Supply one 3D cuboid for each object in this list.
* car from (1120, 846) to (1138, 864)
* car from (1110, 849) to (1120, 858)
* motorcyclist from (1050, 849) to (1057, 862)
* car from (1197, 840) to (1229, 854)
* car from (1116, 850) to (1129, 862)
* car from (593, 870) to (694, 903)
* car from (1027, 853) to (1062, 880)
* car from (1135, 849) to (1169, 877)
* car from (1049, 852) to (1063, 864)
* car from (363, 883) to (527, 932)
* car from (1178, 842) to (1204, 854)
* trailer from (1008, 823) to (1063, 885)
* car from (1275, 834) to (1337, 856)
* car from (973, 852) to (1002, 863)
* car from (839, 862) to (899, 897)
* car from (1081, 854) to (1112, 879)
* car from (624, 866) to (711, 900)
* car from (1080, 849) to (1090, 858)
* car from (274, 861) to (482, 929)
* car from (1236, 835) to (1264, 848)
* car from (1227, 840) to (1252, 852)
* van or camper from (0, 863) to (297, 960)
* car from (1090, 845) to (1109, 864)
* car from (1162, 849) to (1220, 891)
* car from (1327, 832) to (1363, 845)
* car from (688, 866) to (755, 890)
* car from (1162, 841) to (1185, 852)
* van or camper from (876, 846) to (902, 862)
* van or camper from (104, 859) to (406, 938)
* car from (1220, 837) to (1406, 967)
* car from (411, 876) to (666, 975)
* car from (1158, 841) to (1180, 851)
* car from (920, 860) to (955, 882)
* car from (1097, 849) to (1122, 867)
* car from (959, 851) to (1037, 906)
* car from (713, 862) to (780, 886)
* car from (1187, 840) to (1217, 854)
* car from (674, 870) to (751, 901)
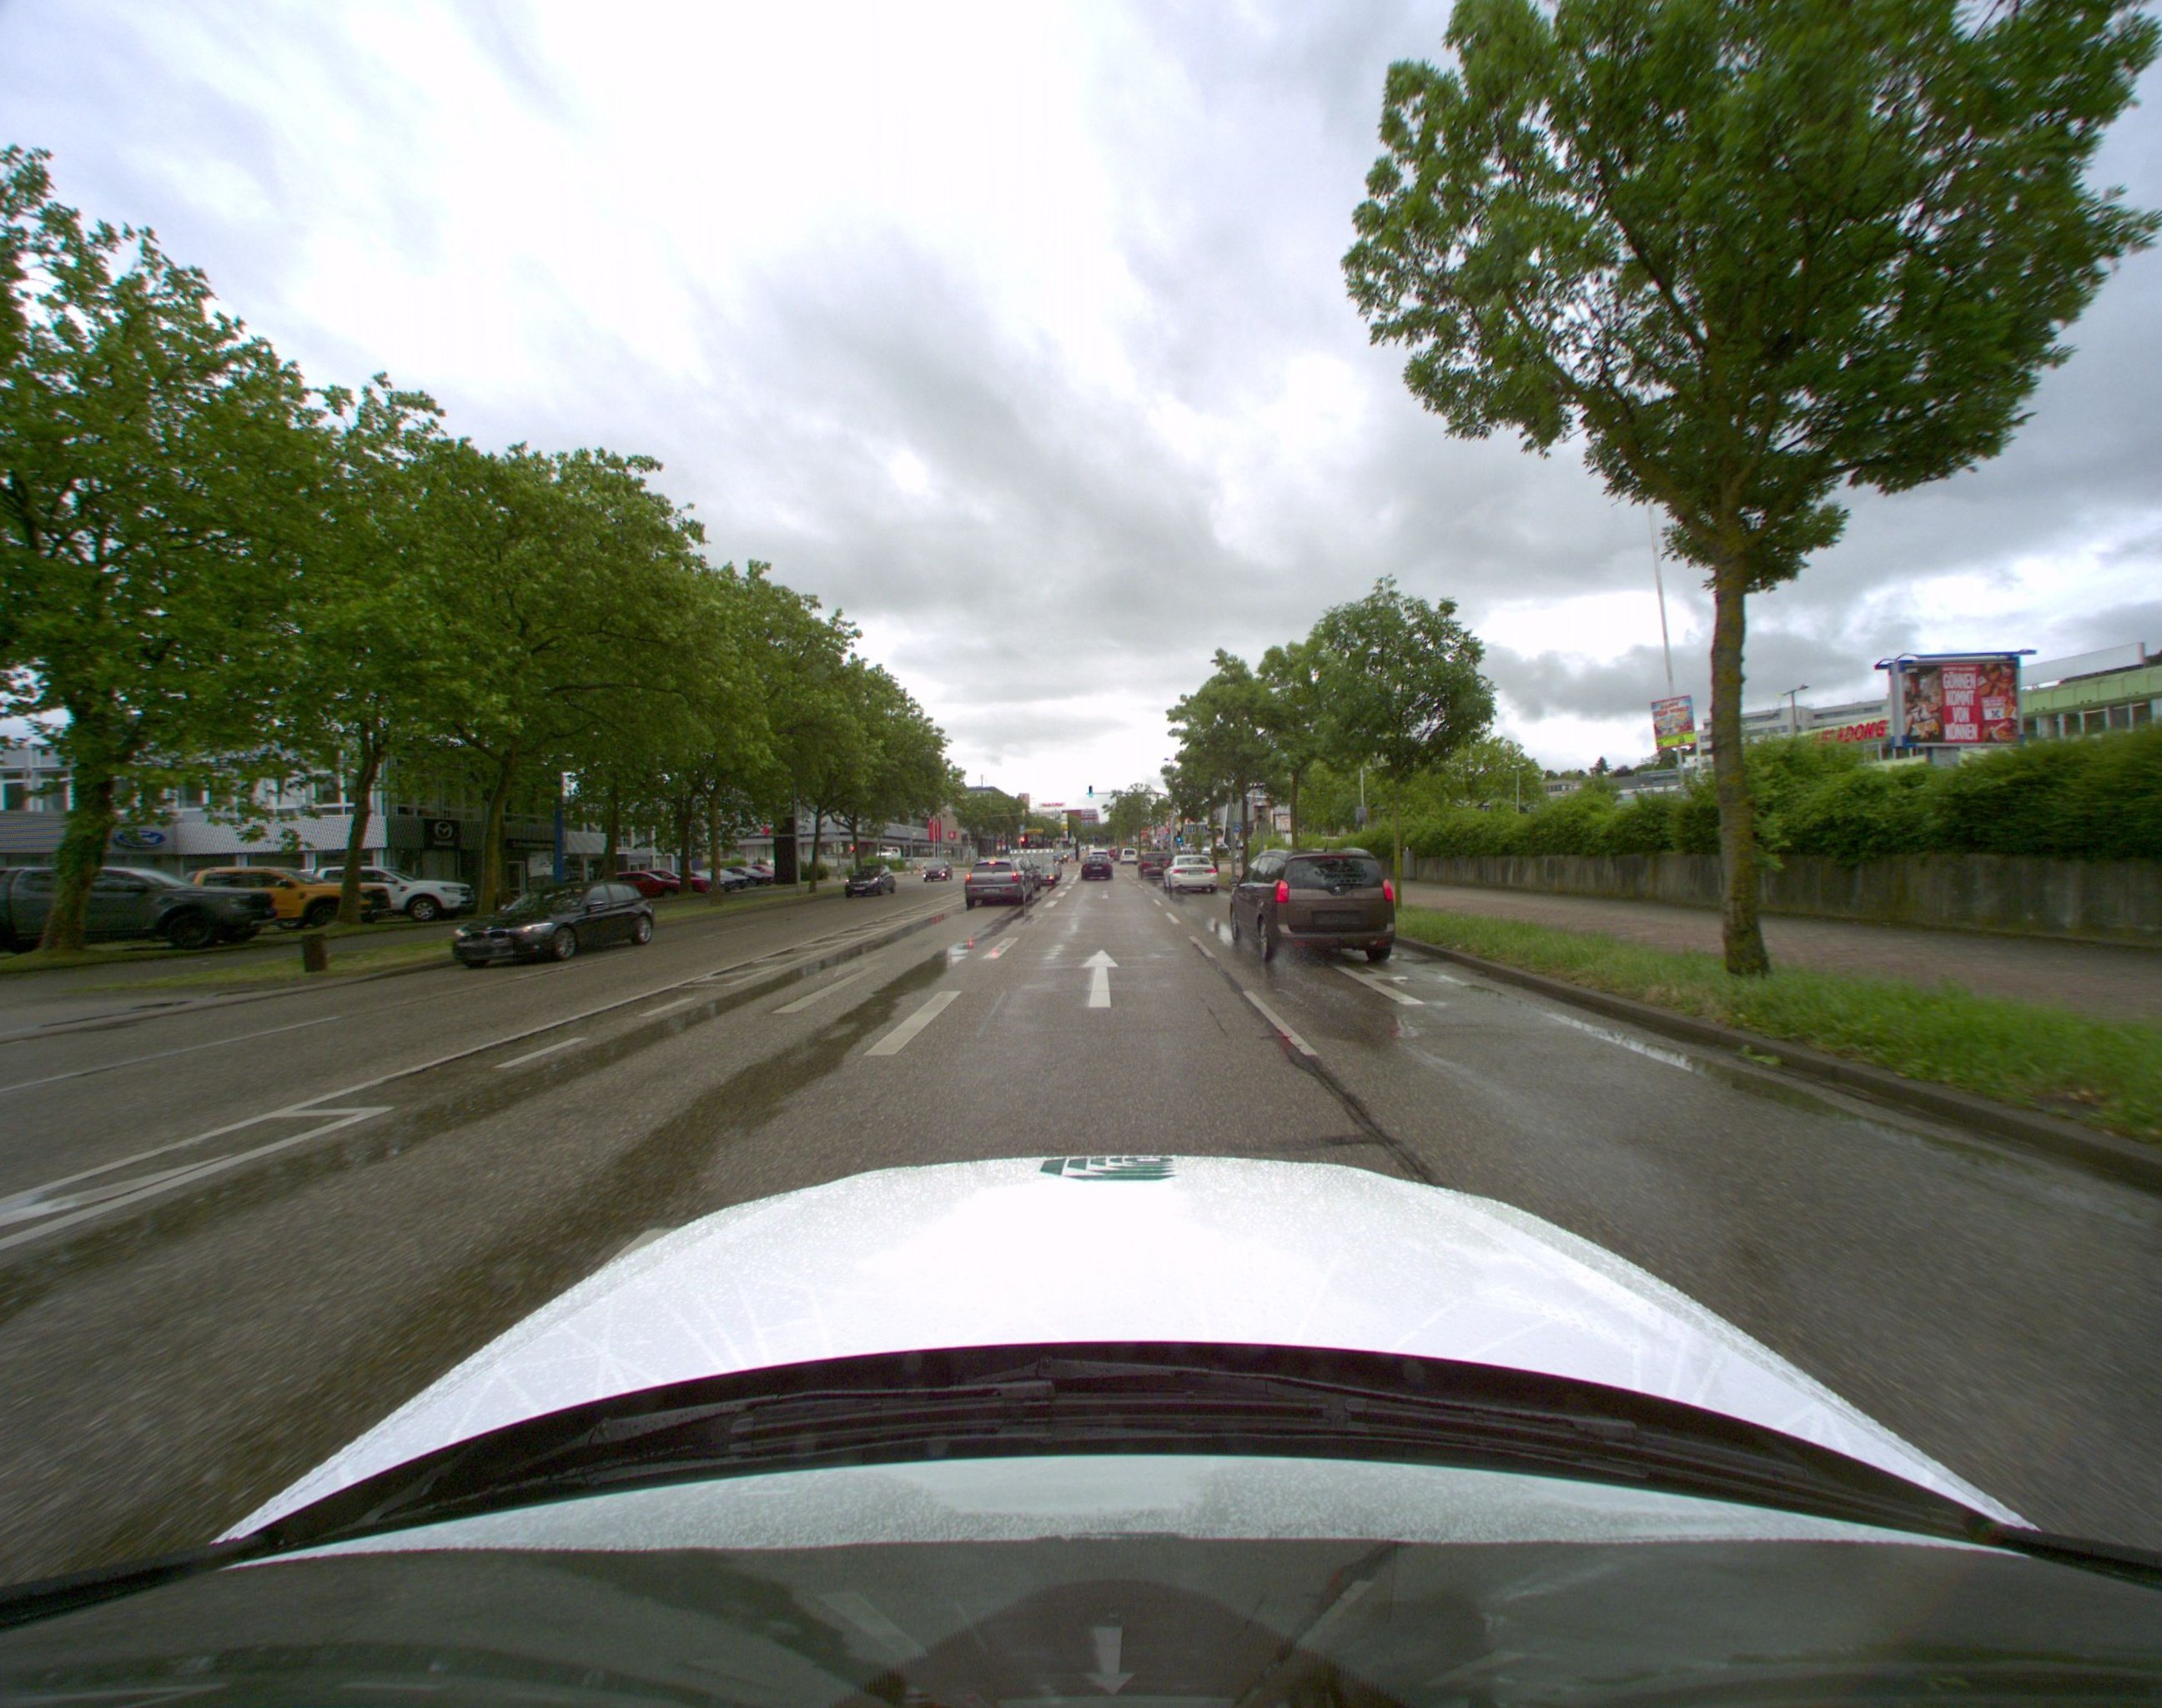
[{"bbox_3d":[5.243,0.141,89.352,1.776,1.866,4.000,-3,0,1],"label":"car"},{"bbox_3d":[5.806,-0.051,139.521,1.689,1.443,3.990,-2,-1,2],"label":"car"},{"bbox_3d":[-3.569,0.176,104.944,0.804,1.559,1.267,-2,1,-1],"label":"motorcyclist"},{"bbox_3d":[16.637,-0.867,102.339,1.908,1.576,4.314,-2,0,43],"label":"car"},{"bbox_3d":[5.593,0.291,110.622,1.678,1.684,3.404,0,-1,2],"label":"car"},{"bbox_3d":[-23.481,1.734,43.898,4.571,1.596,1.986,-1,0,-21],"label":"car"},{"bbox_3d":[-2.126,0.710,48.626,1.759,1.458,4.782,-2,0,1],"label":"car"},{"bbox_3d":[4.218,0.518,48.634,1.794,1.587,4.453,0,0,2],"label":"car"},{"bbox_3d":[-3.077,0.471,100.328,1.678,1.377,3.997,-2,0,-2],"label":"car"},{"bbox_3d":[-23.561,1.922,30.406,4.479,1.450,1.982,-2,0,-28],"label":"car"},{"bbox_3d":[16.236,-0.921,120.078,3.617,1.536,1.625,-3,0,-39],"label":"car"},{"bbox_3d":[-2.274,-0.005,42.300,2.365,2.897,5.545,-3,0,0],"label":"trailer"},{"bbox_3d":[16.137,-0.636,58.460,3.970,1.442,1.657,-2,0,3],"label":"car"},{"bbox_3d":[-13.900,0.527,121.532,3.948,1.552,1.912,-2,1,35],"label":"car"},{"bbox_3d":[-10.115,1.194,39.132,1.704,1.465,4.084,-3,0,0],"label":"car"},{"bbox_3d":[0.911,0.701,48.407,1.775,1.398,4.000,-1,0,1],"label":"car"},{"bbox_3d":[-23.839,1.660,47.169,4.236,1.653,1.997,-3,0,-22],"label":"car"},{"bbox_3d":[0.958,-0.055,179.138,1.986,2.014,4.002,0,-1,2],"label":"car"},{"bbox_3d":[-21.886,1.225,25.608,4.471,1.816,1.986,-2,0,-22],"label":"car"},{"bbox_3d":[25.572,-1.947,123.103,4.175,1.771,1.718,-3,0,-39],"label":"car"},{"bbox_3d":[25.314,-1.316,129.783,3.995,1.720,1.615,-3,0,-39],"label":"car"},{"bbox_3d":[-21.432,1.213,18.052,5.308,1.821,2.248,-2,0,-25],"label":"van or camper"},{"bbox_3d":[1.930,0.074,85.018,1.986,2.014,4.001,0,-1,1],"label":"car"},{"bbox_3d":[4.242,0.590,32.020,1.794,1.544,4.622,0,0,2],"label":"car"},{"bbox_3d":[34.415,-1.997,106.274,1.747,1.481,4.106,-2,0,-39],"label":"car"},{"bbox_3d":[-24.253,1.624,55.003,3.732,1.391,1.688,-2,0,-4],"label":"car"},{"bbox_3d":[17.017,-1.416,149.578,4.094,1.904,1.801,-3,0,2],"label":"car"},{"bbox_3d":[-23.506,0.051,100.045,1.986,1.967,4.789,0,-1,1],"label":"van or camper"},{"bbox_3d":[-22.276,1.182,22.329,5.379,1.770,2.089,-2,-3,-22],"label":"van or camper"},{"bbox_3d":[3.393,0.620,12.801,1.720,1.624,4.472,-2,0,2],"label":"car"},{"bbox_3d":[-10.103,1.243,15.696,1.730,1.429,4.538,-3,0,1],"label":"car"},{"bbox_3d":[16.973,-1.573,156.848,4.089,1.703,1.803,-2,1,6],"label":"car"},{"bbox_3d":[-10.475,1.211,59.690,1.704,1.465,4.084,-3,0,0],"label":"car"},{"bbox_3d":[2.269,0.304,65.599,1.678,1.377,3.997,-2,0,-2],"label":"car"},{"bbox_3d":[-2.680,0.751,27.411,1.900,1.578,4.882,-3,0,2],"label":"car"},{"bbox_3d":[-23.763,1.440,57.973,3.971,1.489,1.877,-2,0,-4],"label":"car"},{"bbox_3d":[16.983,-0.926,114.320,4.047,1.662,1.960,-5,2,-38],"label":"car"},{"bbox_3d":[-23.013,1.952,51.077,4.236,1.596,1.985,-4,1,-22],"label":"car"}]
